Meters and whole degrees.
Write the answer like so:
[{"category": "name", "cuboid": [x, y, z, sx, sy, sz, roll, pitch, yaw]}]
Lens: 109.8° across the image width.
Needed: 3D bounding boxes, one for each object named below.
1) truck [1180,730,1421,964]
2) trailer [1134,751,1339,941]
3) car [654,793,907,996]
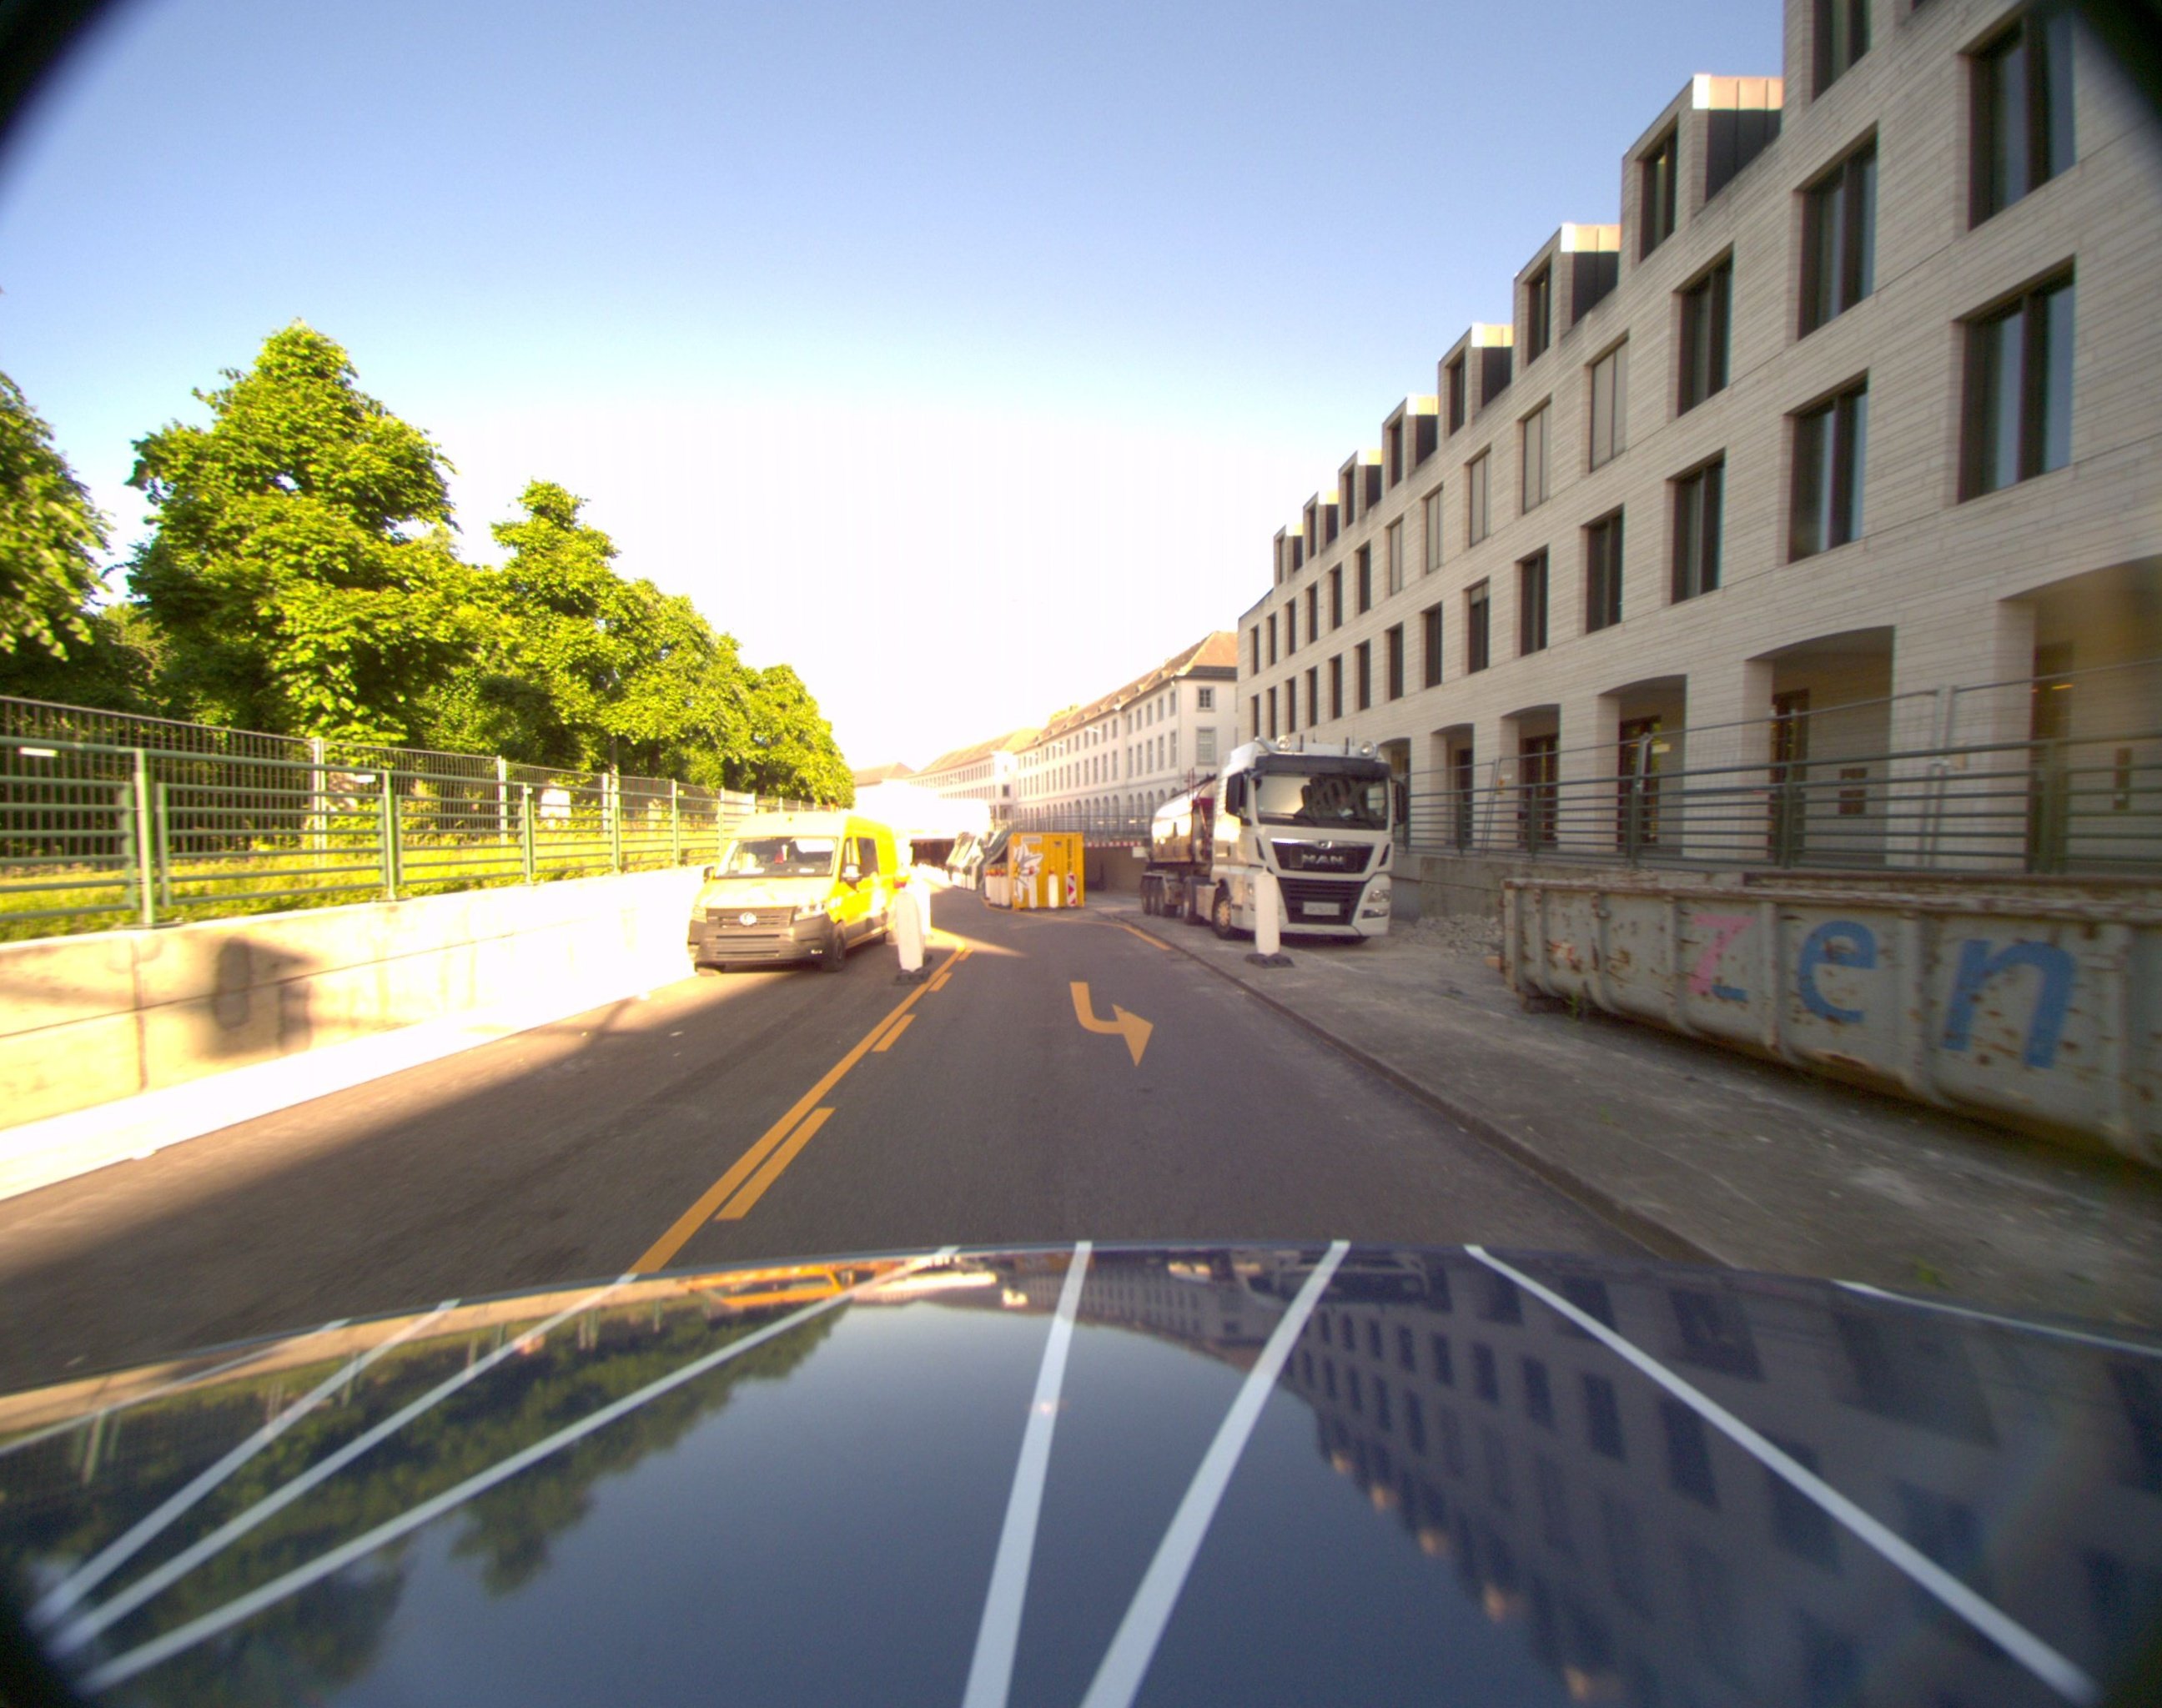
[{"category": "truck", "cuboid": [3.732, -0.072, 14.492, 2.586, 3.469, 5.815, 2, 0, -2]}, {"category": "trailer", "cuboid": [3.418, -0.108, 19.442, 2.650, 3.647, 8.745, 3, -1, -5]}, {"category": "car", "cuboid": [-4.715, 0.543, 13.424, 2.118, 2.609, 6.984, -1, 0, -4]}]
